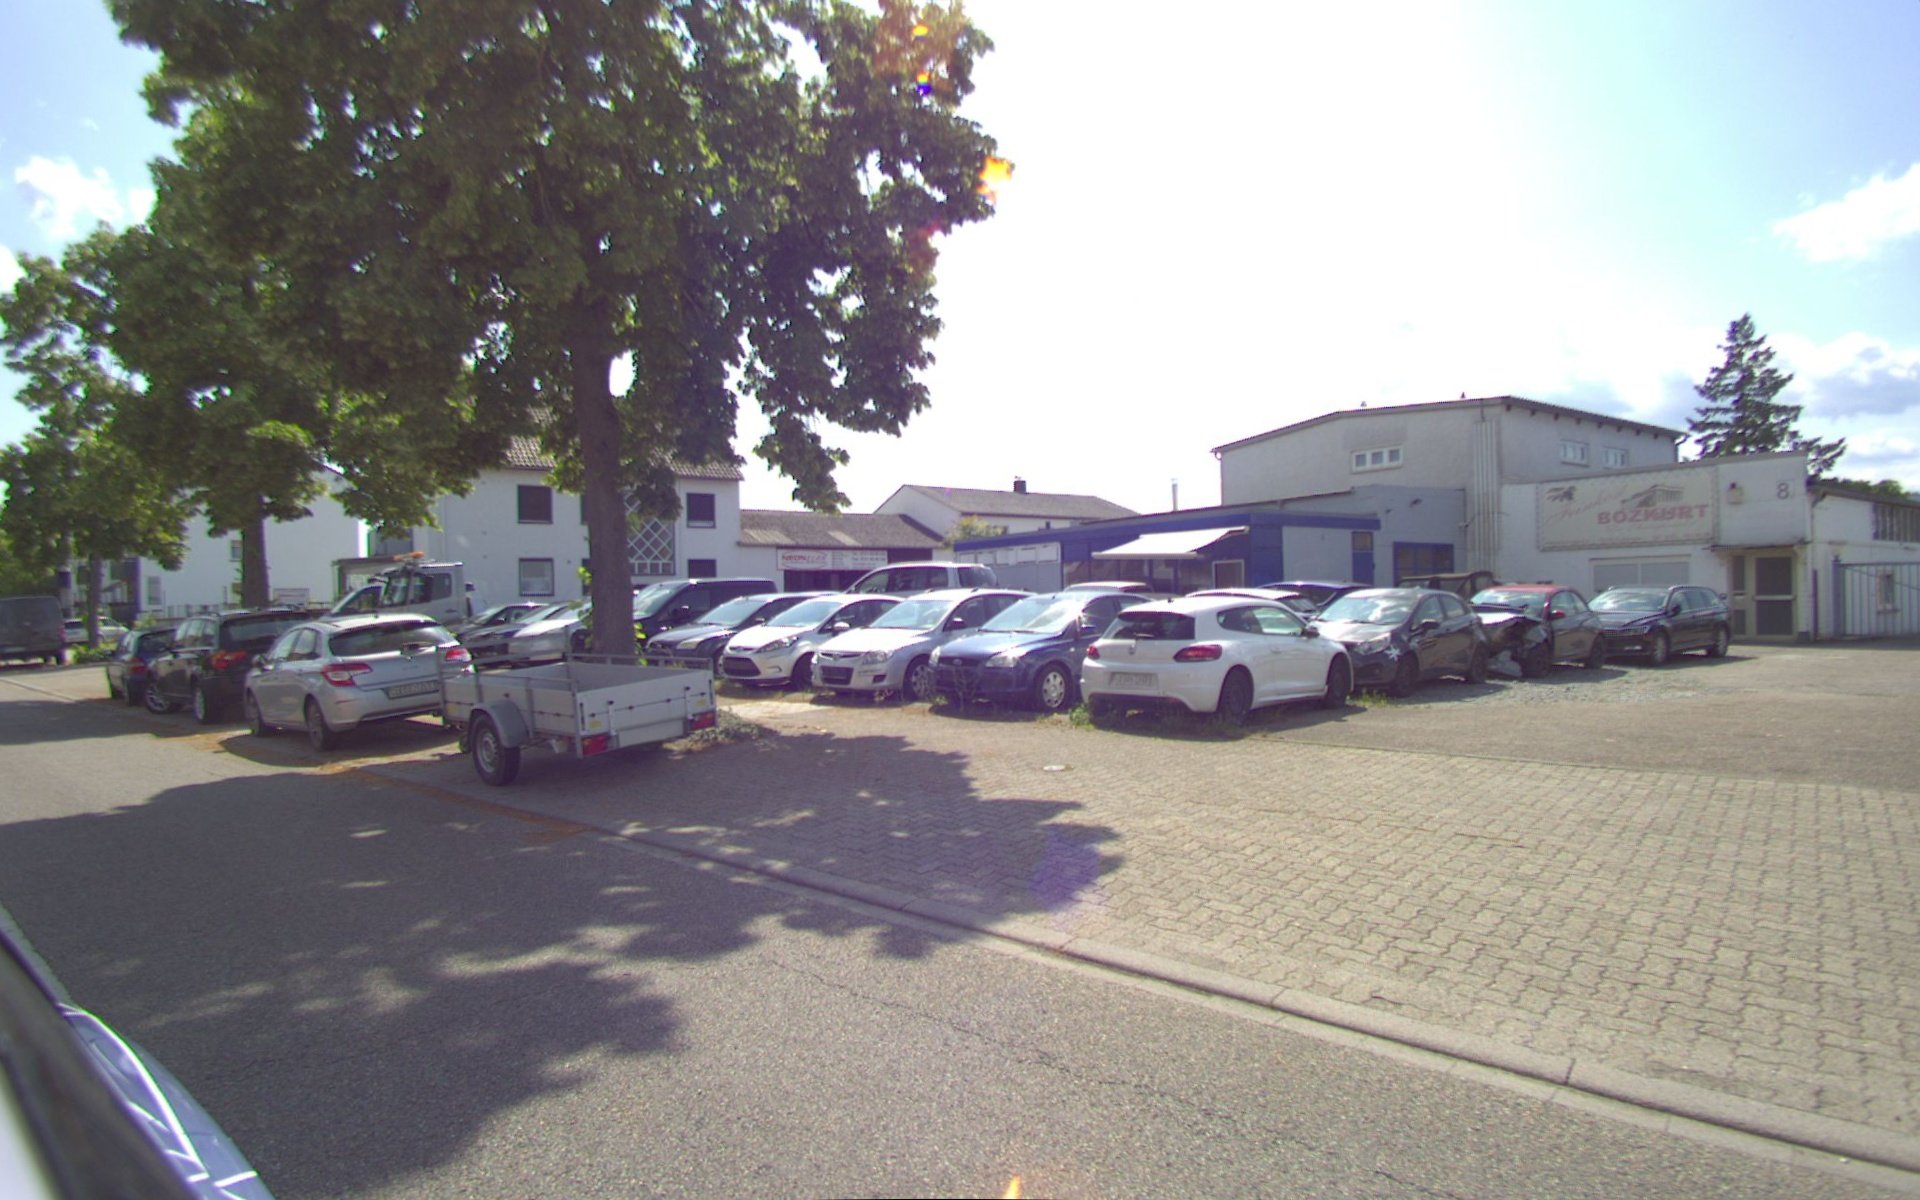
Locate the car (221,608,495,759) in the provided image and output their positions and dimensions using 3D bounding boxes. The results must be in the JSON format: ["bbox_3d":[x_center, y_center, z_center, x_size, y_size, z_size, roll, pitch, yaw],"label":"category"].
[{"bbox_3d":[-7.833,0.952,12.997,4.236,1.539,1.814,-2,1,42],"label":"car"}]

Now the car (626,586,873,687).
[{"bbox_3d":[-3.724,0.584,18.405,1.827,1.631,4.099,-1,0,43],"label":"car"}]

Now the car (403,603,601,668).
[{"bbox_3d":[-11.204,0.845,24.958,1.678,1.470,4.151,-3,-2,42],"label":"car"}]

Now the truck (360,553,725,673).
[{"bbox_3d":[-11.310,0.331,28.403,2.722,2.878,9.153,-2,-1,45],"label":"truck"}]

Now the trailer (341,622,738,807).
[{"bbox_3d":[-4.321,0.956,10.019,4.505,1.299,1.744,-2,3,41],"label":"trailer"}]

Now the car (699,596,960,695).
[{"bbox_3d":[-2.060,0.659,16.852,1.827,1.441,4.099,-1,0,43],"label":"car"}]

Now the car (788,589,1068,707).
[{"bbox_3d":[-0.358,0.612,15.103,1.827,1.501,4.099,-1,0,43],"label":"car"}]

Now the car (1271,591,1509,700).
[{"bbox_3d":[6.394,0.576,14.881,3.783,1.390,1.797,0,0,-42],"label":"car"}]

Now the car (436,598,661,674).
[{"bbox_3d":[-9.394,0.799,23.358,1.827,1.594,4.476,-3,-2,42],"label":"car"}]

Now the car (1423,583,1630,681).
[{"bbox_3d":[9.741,0.473,17.350,3.513,1.449,1.799,0,3,-37],"label":"car"}]

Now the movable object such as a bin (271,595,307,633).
[{"bbox_3d":[-29.640,0.615,44.745,1.291,1.443,1.607,-1,-7,-33],"label":"movable object such as a bin"}]

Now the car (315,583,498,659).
[{"bbox_3d":[-17.824,0.594,32.694,4.935,2.248,2.005,-1,1,-37],"label":"car"}]

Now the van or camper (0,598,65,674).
[{"bbox_3d":[-32.814,1.223,35.091,5.934,2.334,1.972,-1,3,43],"label":"van or camper"}]

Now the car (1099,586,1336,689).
[{"bbox_3d":[4.693,0.655,18.853,1.690,1.709,4.005,-1,-1,-42],"label":"car"}]

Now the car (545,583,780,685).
[{"bbox_3d":[-5.770,0.593,19.964,1.827,1.801,4.099,-1,0,43],"label":"car"}]

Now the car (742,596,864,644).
[{"bbox_3d":[-6.307,0.757,40.908,4.421,1.805,2.005,-1,1,-37],"label":"car"}]

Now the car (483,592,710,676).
[{"bbox_3d":[-7.702,0.681,21.759,1.825,1.627,4.252,-2,-1,39],"label":"car"}]

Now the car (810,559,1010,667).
[{"bbox_3d":[-1.089,0.289,20.888,3.994,2.029,1.694,-2,-1,38],"label":"car"}]

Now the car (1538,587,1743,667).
[{"bbox_3d":[13.199,0.472,19.583,3.933,1.390,1.918,-1,-1,-34],"label":"car"}]

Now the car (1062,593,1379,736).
[{"bbox_3d":[3.171,0.620,11.849,3.980,1.384,1.828,0,0,-45],"label":"car"}]

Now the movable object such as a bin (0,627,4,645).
[{"bbox_3d":[-74.435,2.814,77.684,1.288,1.396,1.285,-3,0,34],"label":"movable object such as a bin"}]

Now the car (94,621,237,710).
[{"bbox_3d":[-15.664,1.215,19.880,4.160,1.495,1.680,-2,0,45],"label":"car"}]

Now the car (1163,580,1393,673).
[{"bbox_3d":[6.175,0.509,19.986,1.690,1.650,4.005,-1,-1,-42],"label":"car"}]

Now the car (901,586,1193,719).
[{"bbox_3d":[1.281,0.589,13.516,1.827,1.501,3.982,-1,0,43],"label":"car"}]

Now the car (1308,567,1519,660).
[{"bbox_3d":[10.168,0.304,22.906,1.690,1.909,4.005,-1,-1,-42],"label":"car"}]

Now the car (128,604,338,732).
[{"bbox_3d":[-11.834,1.016,16.357,4.397,1.712,1.676,-2,2,40],"label":"car"}]

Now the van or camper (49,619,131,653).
[{"bbox_3d":[-47.278,1.930,55.101,1.751,1.554,4.011,-3,1,-14],"label":"van or camper"}]
